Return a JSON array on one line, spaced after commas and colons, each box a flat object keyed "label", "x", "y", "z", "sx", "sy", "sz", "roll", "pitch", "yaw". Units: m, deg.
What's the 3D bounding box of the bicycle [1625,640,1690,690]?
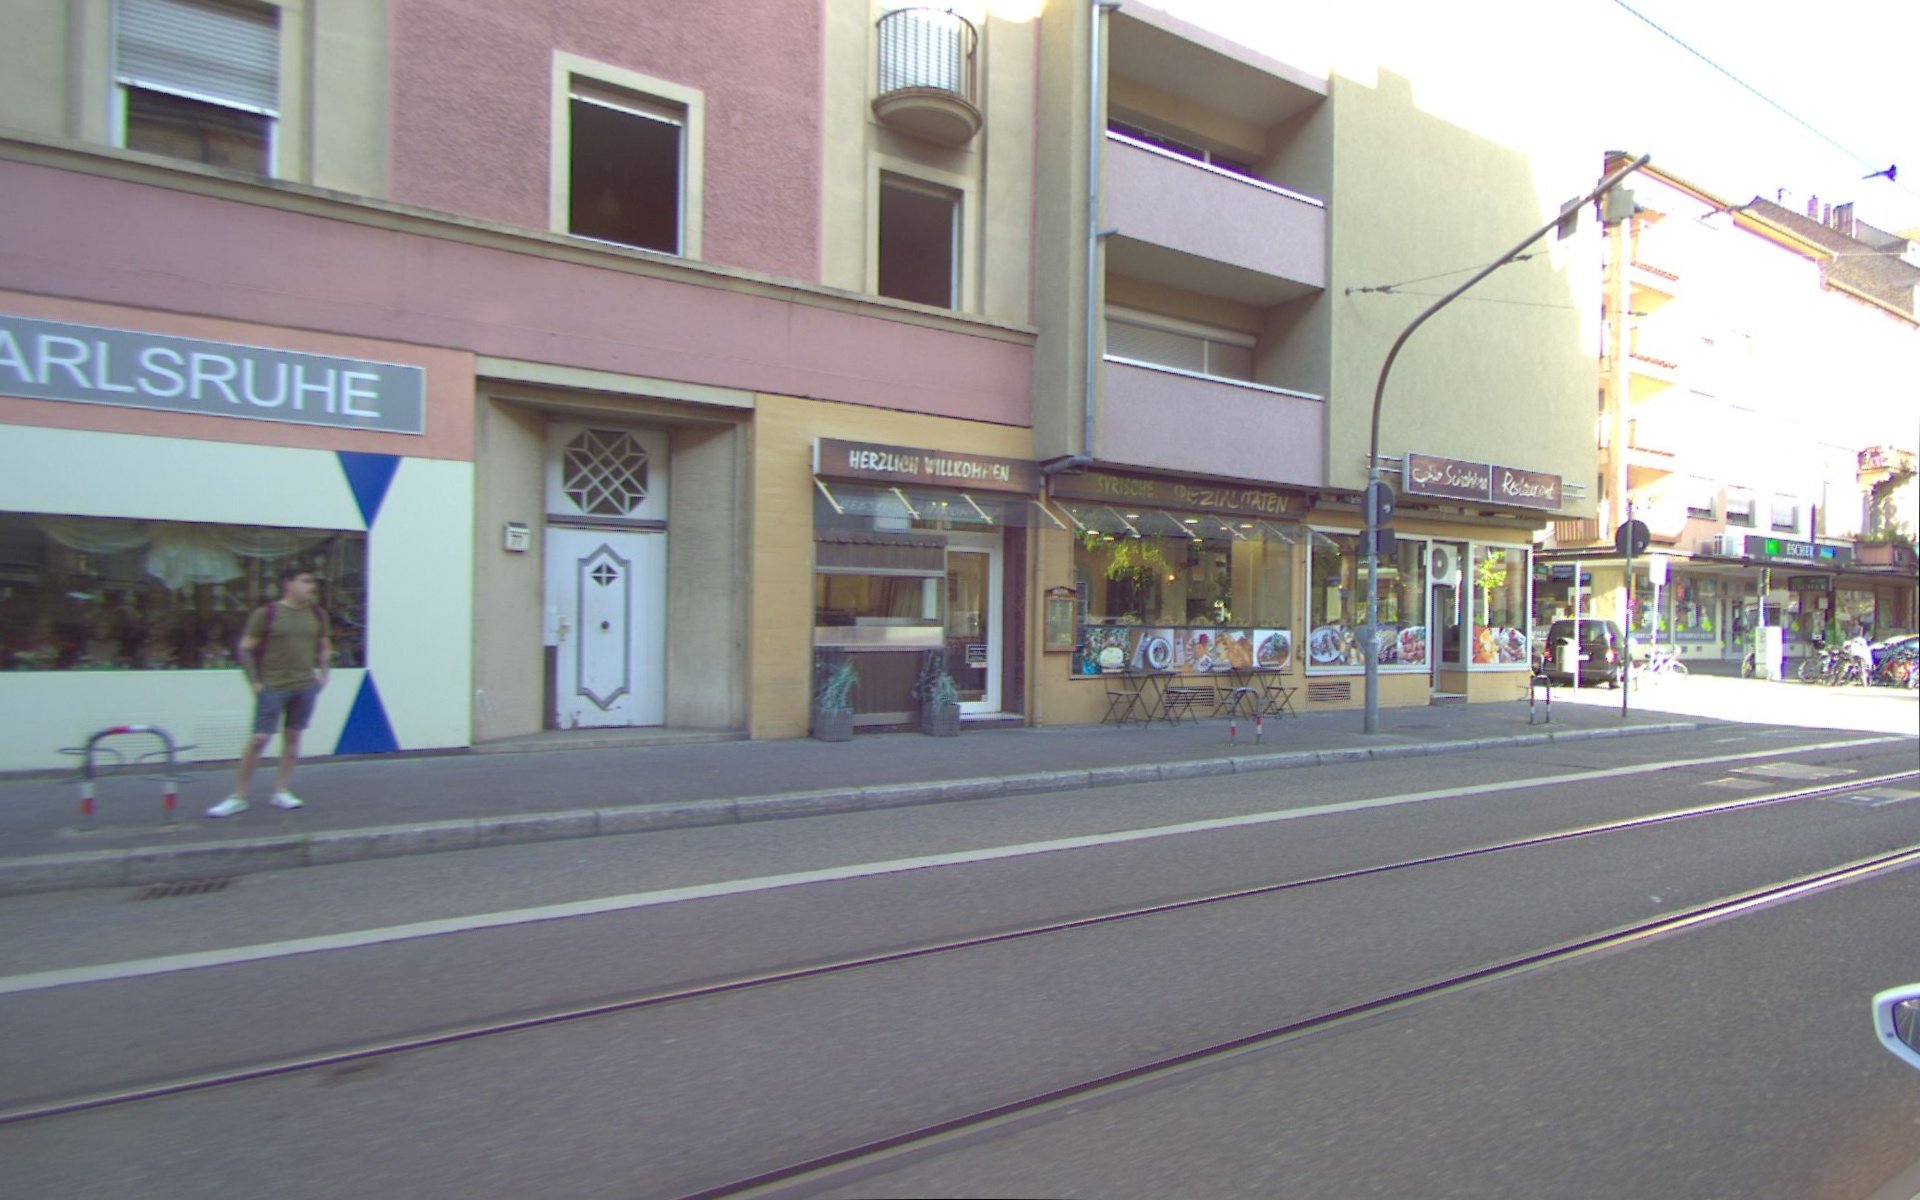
[{"label": "bicycle", "x": 18.013, "y": 1.648, "z": 25.918, "sx": 2.412, "sy": 1.124, "sz": 0.676, "roll": -1, "pitch": 1, "yaw": -37}]

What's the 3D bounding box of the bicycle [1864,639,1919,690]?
[{"label": "bicycle", "x": 23.880, "y": 1.629, "z": 25.712, "sx": 0.671, "sy": 1.138, "sz": 1.884, "roll": 0, "pitch": 1, "yaw": 29}]

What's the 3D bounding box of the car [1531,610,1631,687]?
[{"label": "car", "x": 17.465, "y": 1.305, "z": 28.162, "sx": 1.821, "sy": 1.841, "sz": 4.337, "roll": -3, "pitch": 0, "yaw": 39}]

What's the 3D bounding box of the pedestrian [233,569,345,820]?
[{"label": "pedestrian", "x": -4.825, "y": 0.651, "z": 7.256, "sx": 0.609, "sy": 1.708, "sz": 0.560, "roll": 2, "pitch": 0, "yaw": -31}]

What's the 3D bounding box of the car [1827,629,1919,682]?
[{"label": "car", "x": 26.257, "y": 1.535, "z": 27.556, "sx": 3.406, "sy": 1.355, "sz": 1.623, "roll": 1, "pitch": 0, "yaw": 26}]

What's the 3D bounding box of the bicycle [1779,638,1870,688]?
[{"label": "bicycle", "x": 22.789, "y": 1.629, "z": 26.548, "sx": 0.670, "sy": 1.124, "sz": 2.437, "roll": 0, "pitch": 1, "yaw": 10}]

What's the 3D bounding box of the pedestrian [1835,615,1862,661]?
[{"label": "pedestrian", "x": 32.720, "y": 1.402, "z": 36.988, "sx": 0.634, "sy": 1.674, "sz": 0.566, "roll": 2, "pitch": 0, "yaw": -30}]

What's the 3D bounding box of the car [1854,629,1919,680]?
[{"label": "car", "x": 28.684, "y": 1.631, "z": 29.155, "sx": 3.722, "sy": 1.418, "sz": 1.752, "roll": 1, "pitch": 0, "yaw": 28}]

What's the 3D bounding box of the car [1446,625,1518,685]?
[{"label": "car", "x": 15.847, "y": 1.595, "z": 30.414, "sx": 1.816, "sy": 1.411, "sz": 3.992, "roll": 1, "pitch": 2, "yaw": 29}]

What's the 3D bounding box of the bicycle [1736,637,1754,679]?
[{"label": "bicycle", "x": 22.225, "y": 1.623, "z": 28.433, "sx": 0.398, "sy": 1.124, "sz": 1.830, "roll": 0, "pitch": -1, "yaw": 38}]

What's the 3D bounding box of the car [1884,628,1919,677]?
[{"label": "car", "x": 30.916, "y": 1.641, "z": 30.892, "sx": 3.410, "sy": 1.492, "sz": 1.645, "roll": 0, "pitch": -1, "yaw": 31}]
